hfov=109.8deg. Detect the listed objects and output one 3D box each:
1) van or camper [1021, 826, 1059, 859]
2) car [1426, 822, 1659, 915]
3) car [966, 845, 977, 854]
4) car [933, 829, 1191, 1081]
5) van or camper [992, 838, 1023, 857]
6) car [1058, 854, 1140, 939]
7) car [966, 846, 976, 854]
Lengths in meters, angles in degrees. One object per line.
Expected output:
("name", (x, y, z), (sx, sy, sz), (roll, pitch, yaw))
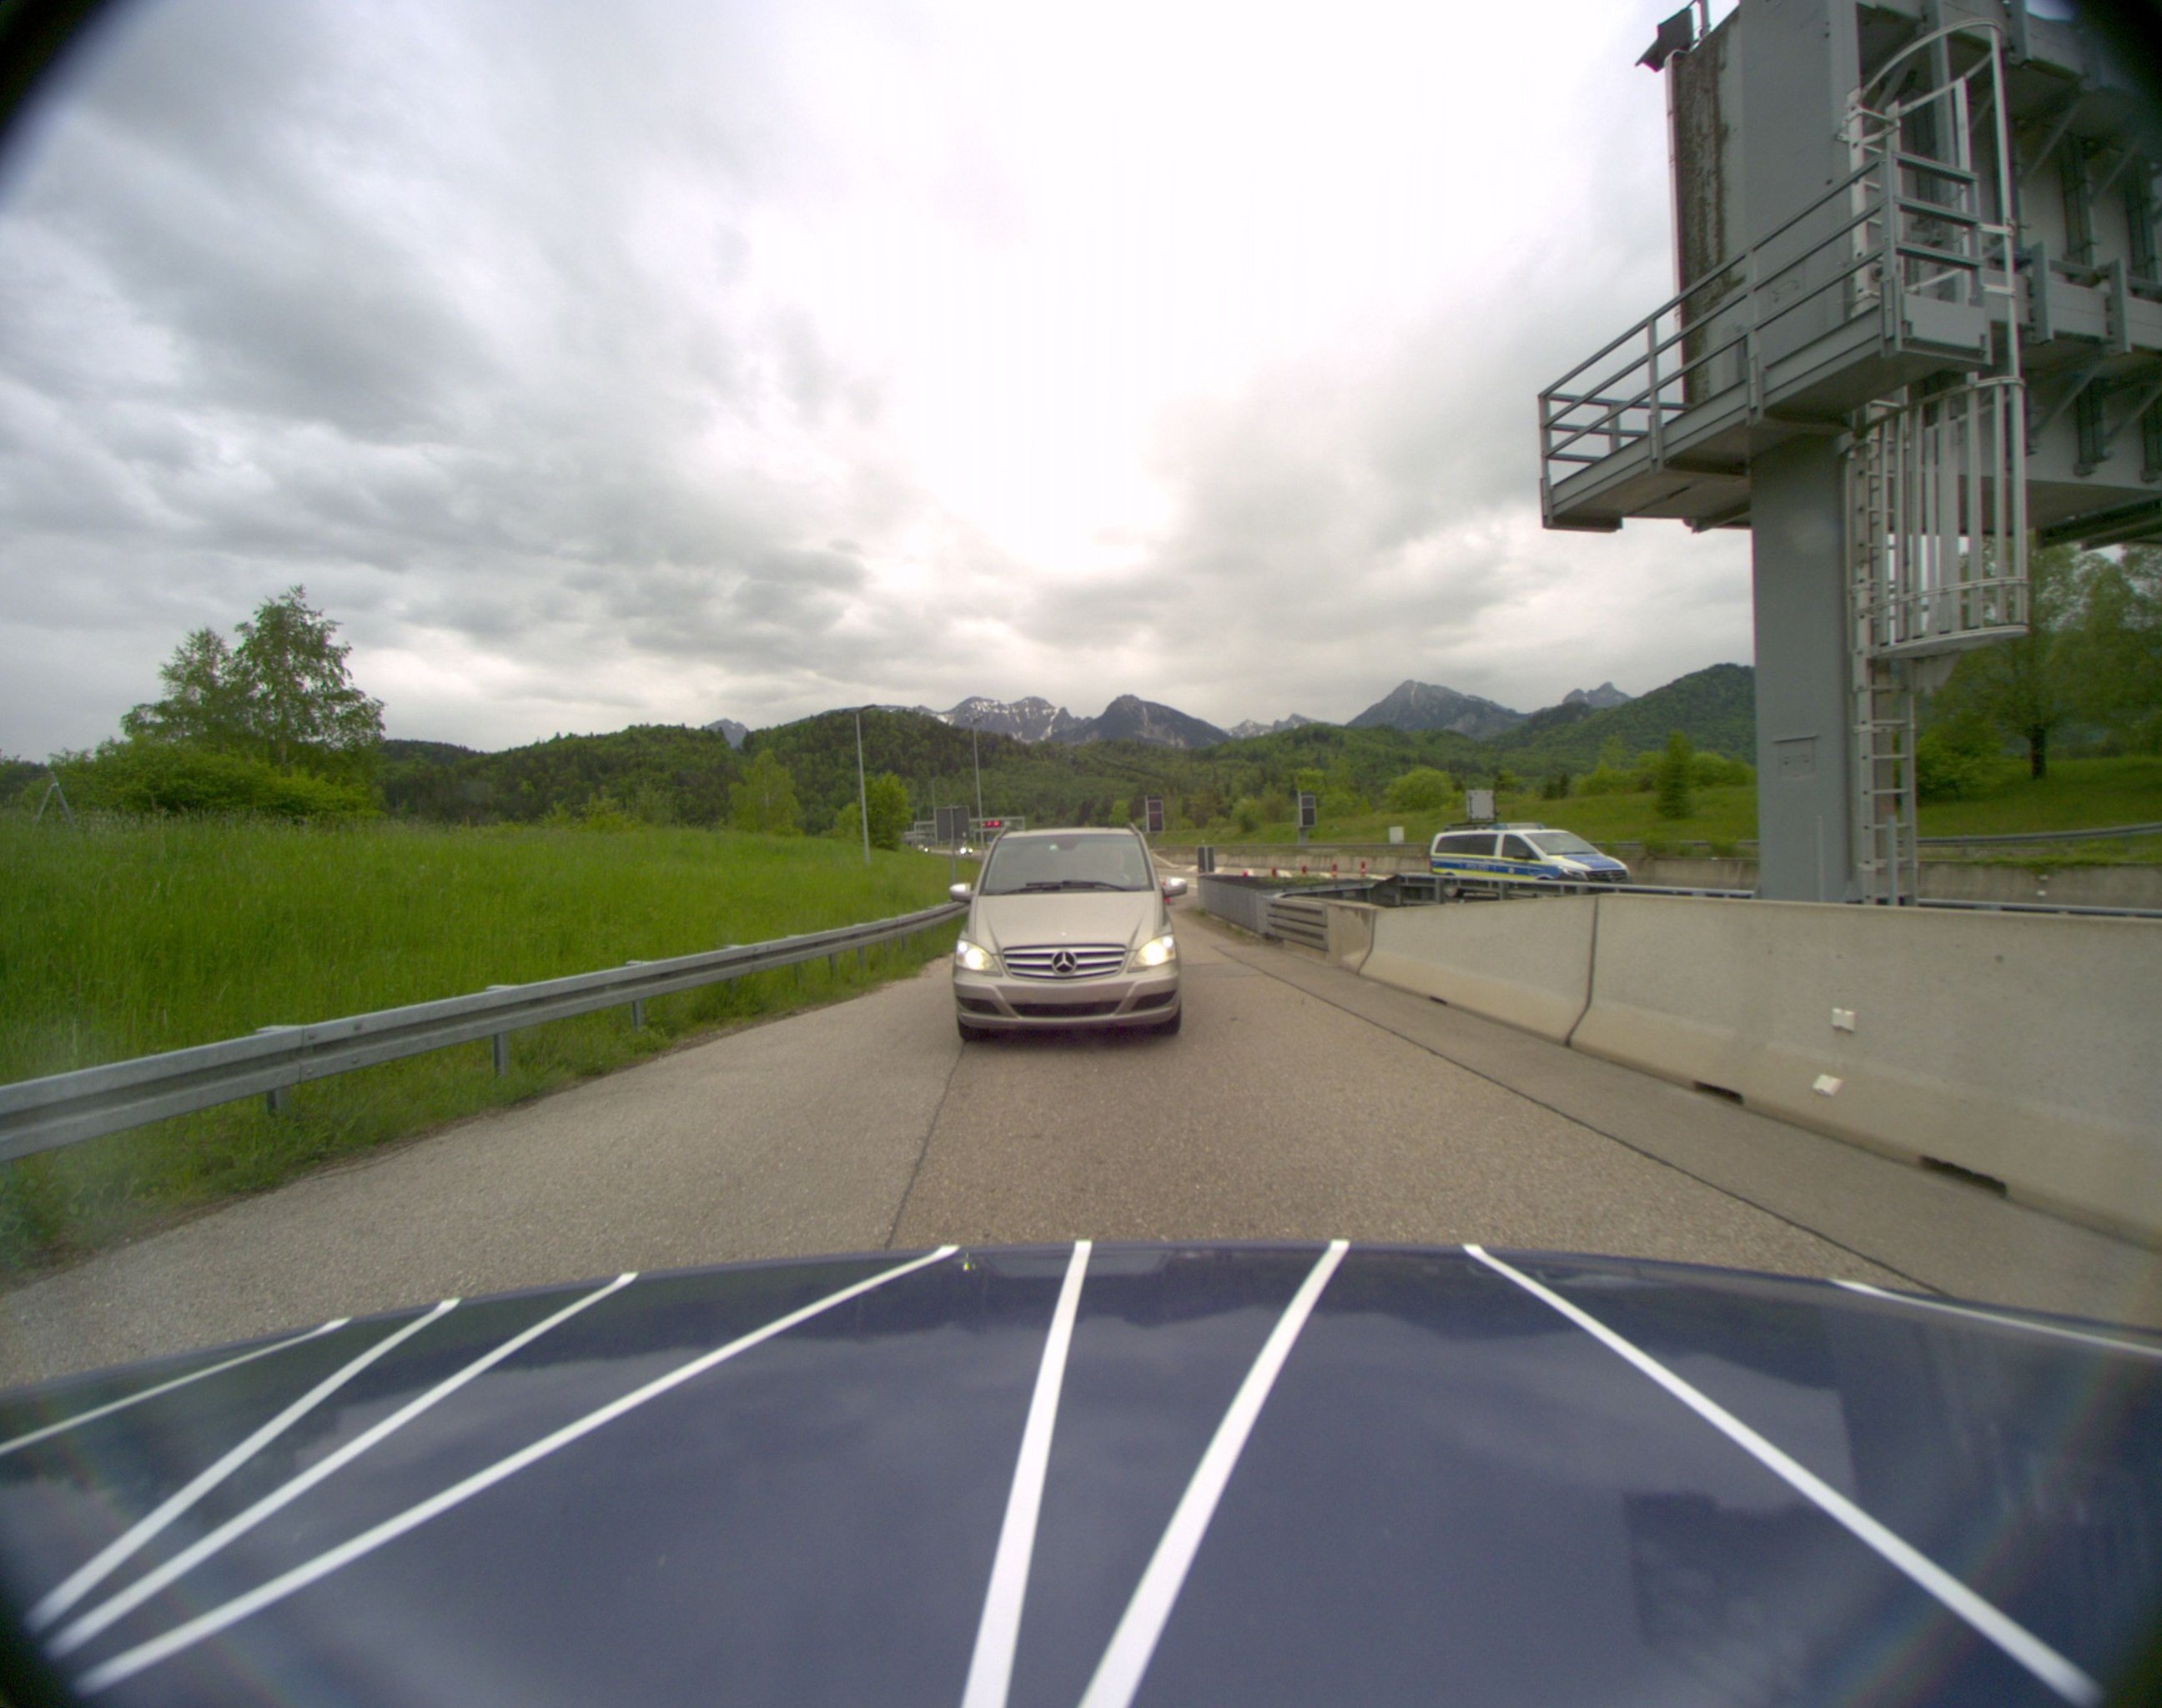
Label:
("van or camper", (-4.439, -1.213, 80.842), (2.585, 3.372, 7.345), (-2, 1, -14))
("car", (11.329, 0.280, 19.212), (2.106, 2.002, 5.045), (-2, 1, -13))
("car", (-22.693, -0.960, 157.367), (1.869, 1.861, 3.994), (-2, 1, -14))
("car", (-0.104, 0.710, 8.409), (1.862, 1.833, 5.616), (-1, 1, 1))
("van or camper", (-10.882, -0.994, 111.923), (3.345, 2.629, 8.189), (-2, 1, -15))
("car", (0.405, 0.847, 17.209), (1.591, 1.662, 4.000), (-1, 0, 1))
("car", (-22.849, -0.834, 157.665), (1.722, 1.629, 4.342), (-1, 1, -14))
